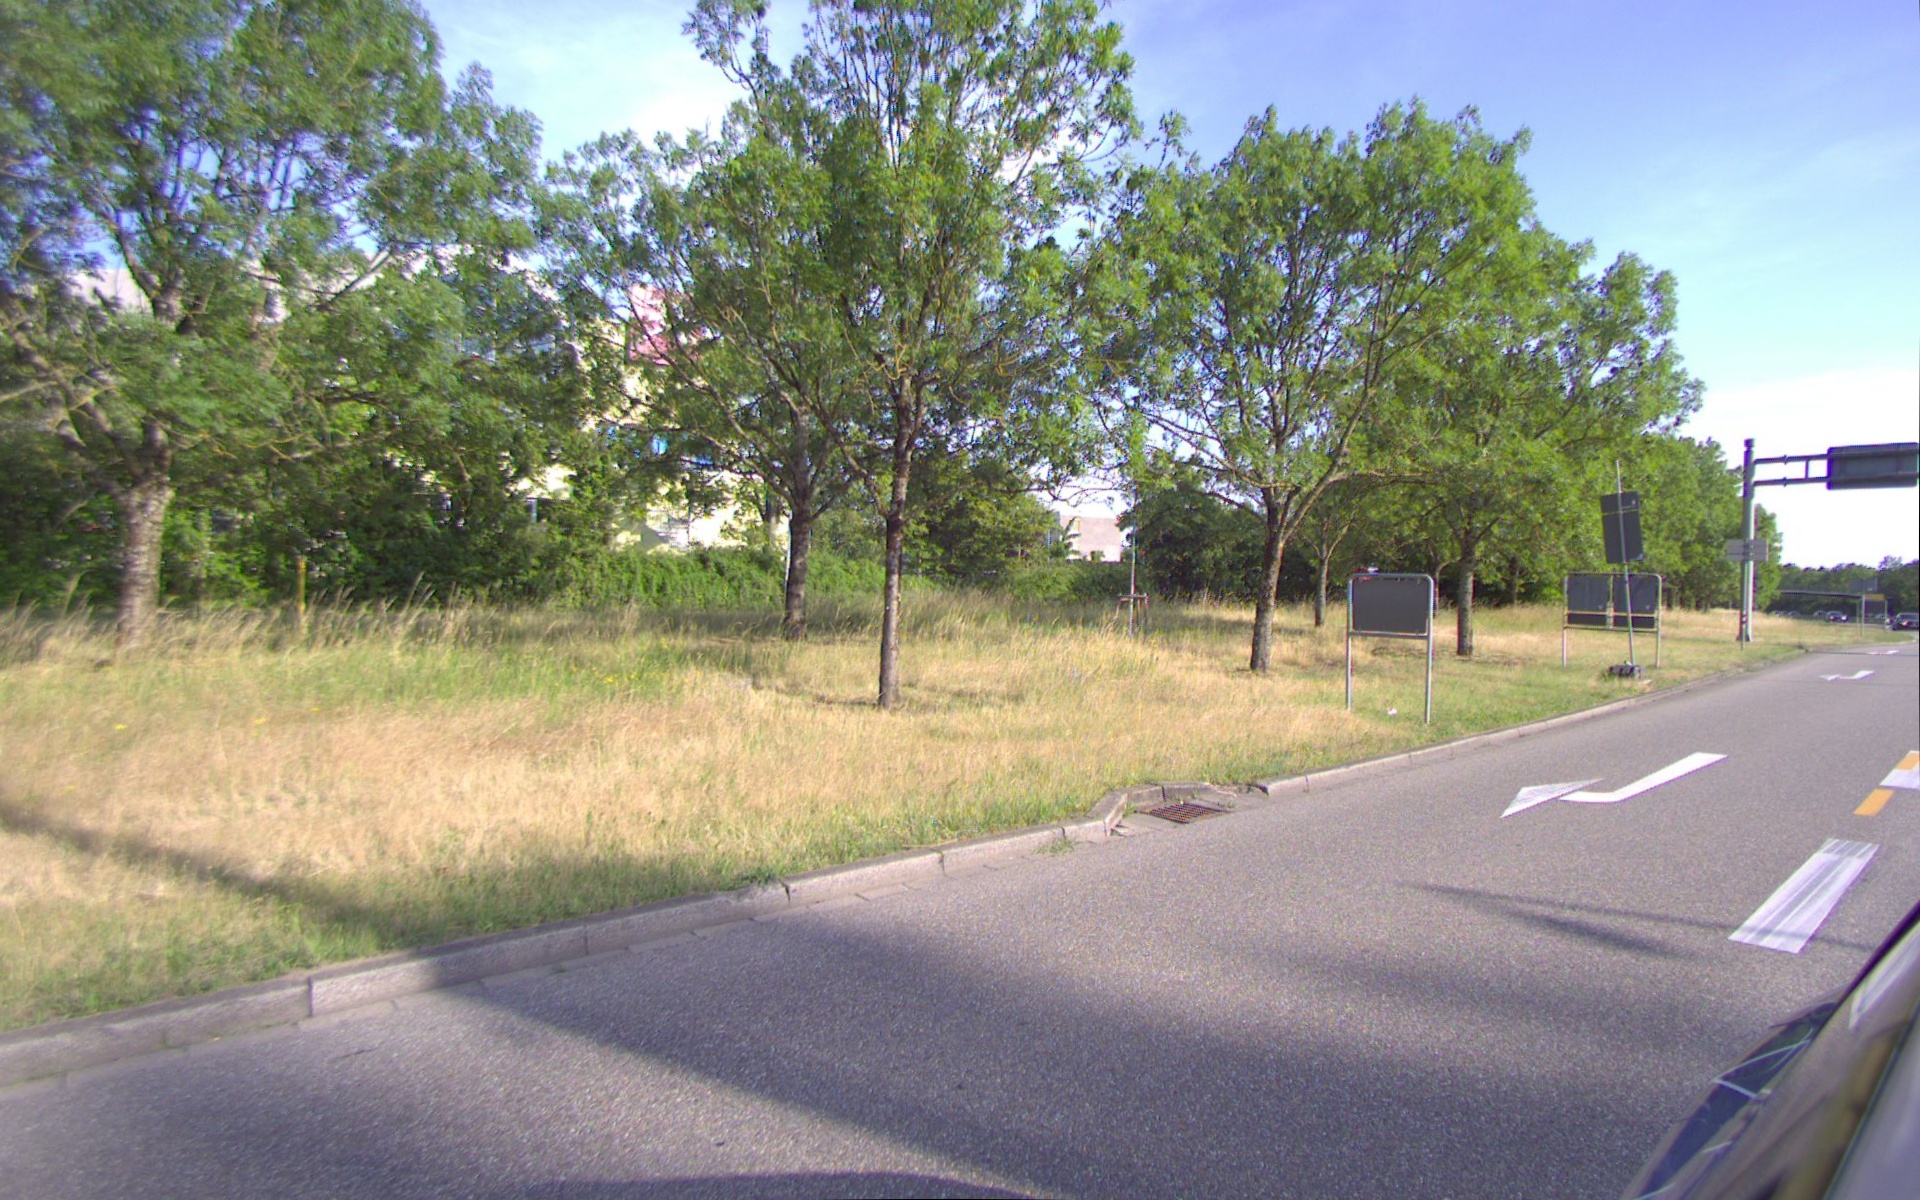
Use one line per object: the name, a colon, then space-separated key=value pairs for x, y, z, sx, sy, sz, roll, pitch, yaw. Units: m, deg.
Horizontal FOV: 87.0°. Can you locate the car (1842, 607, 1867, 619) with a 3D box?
car: x=120.336 y=1.734 z=136.144 sx=1.883 sy=1.474 sz=3.863 roll=2 pitch=2 yaw=33

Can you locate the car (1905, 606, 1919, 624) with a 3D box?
car: x=74.936 y=1.141 z=78.674 sx=1.893 sy=1.403 sz=4.293 roll=0 pitch=0 yaw=39

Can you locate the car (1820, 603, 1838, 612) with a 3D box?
car: x=155.240 y=1.358 z=180.748 sx=1.721 sy=1.632 sz=3.489 roll=0 pitch=0 yaw=28
